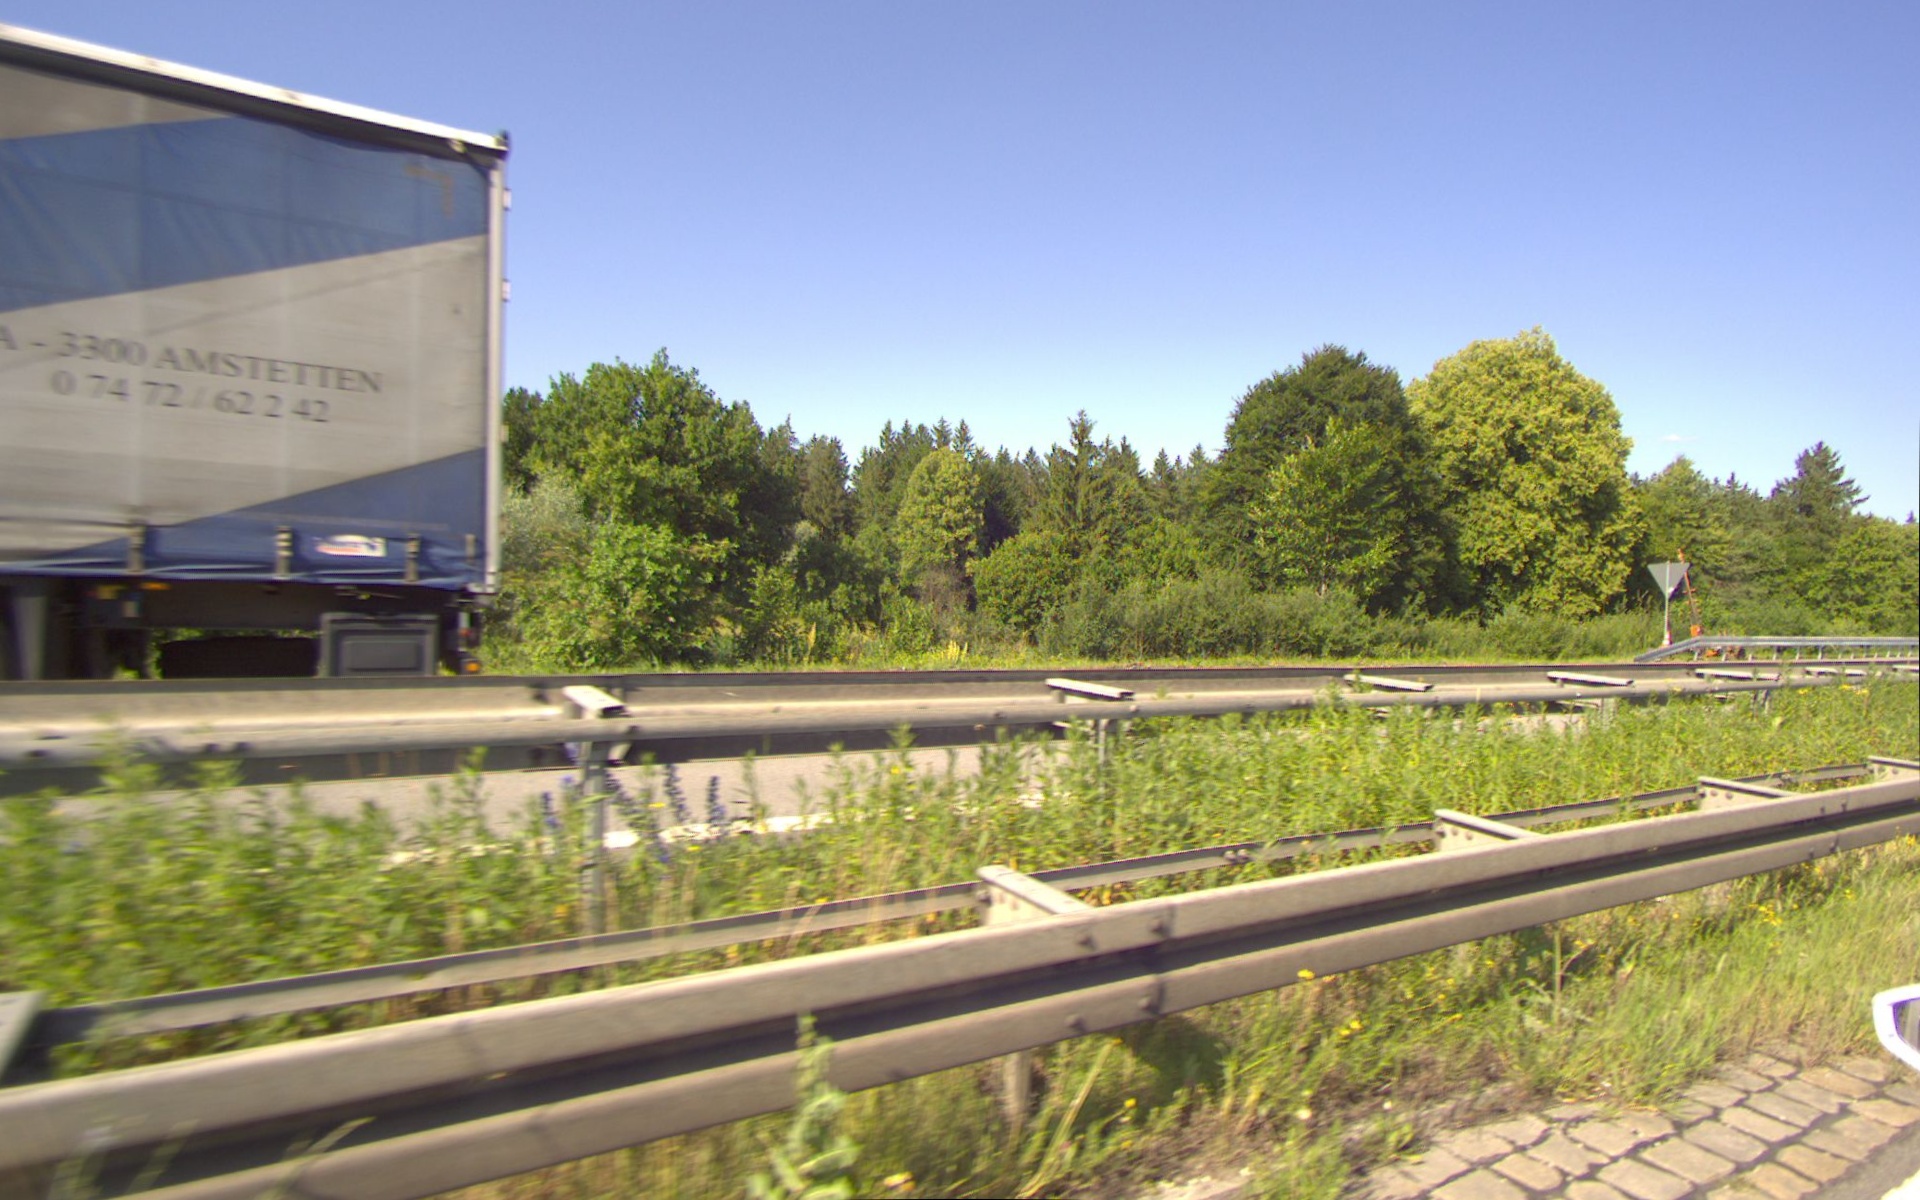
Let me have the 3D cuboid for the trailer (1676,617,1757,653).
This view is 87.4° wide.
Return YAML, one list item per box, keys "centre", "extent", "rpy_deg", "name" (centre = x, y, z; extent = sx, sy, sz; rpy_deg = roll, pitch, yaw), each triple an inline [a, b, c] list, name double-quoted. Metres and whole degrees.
- centre: [25.494, 1.186, 33.833]
  extent: [3.386, 1.067, 0.987]
  rpy_deg: [1, 5, -33]
  name: "trailer"

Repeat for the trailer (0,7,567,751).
- centre: [-9.217, -1.268, 4.522]
  extent: [13.612, 4.007, 2.665]
  rpy_deg: [1, 0, -31]
  name: "trailer"
